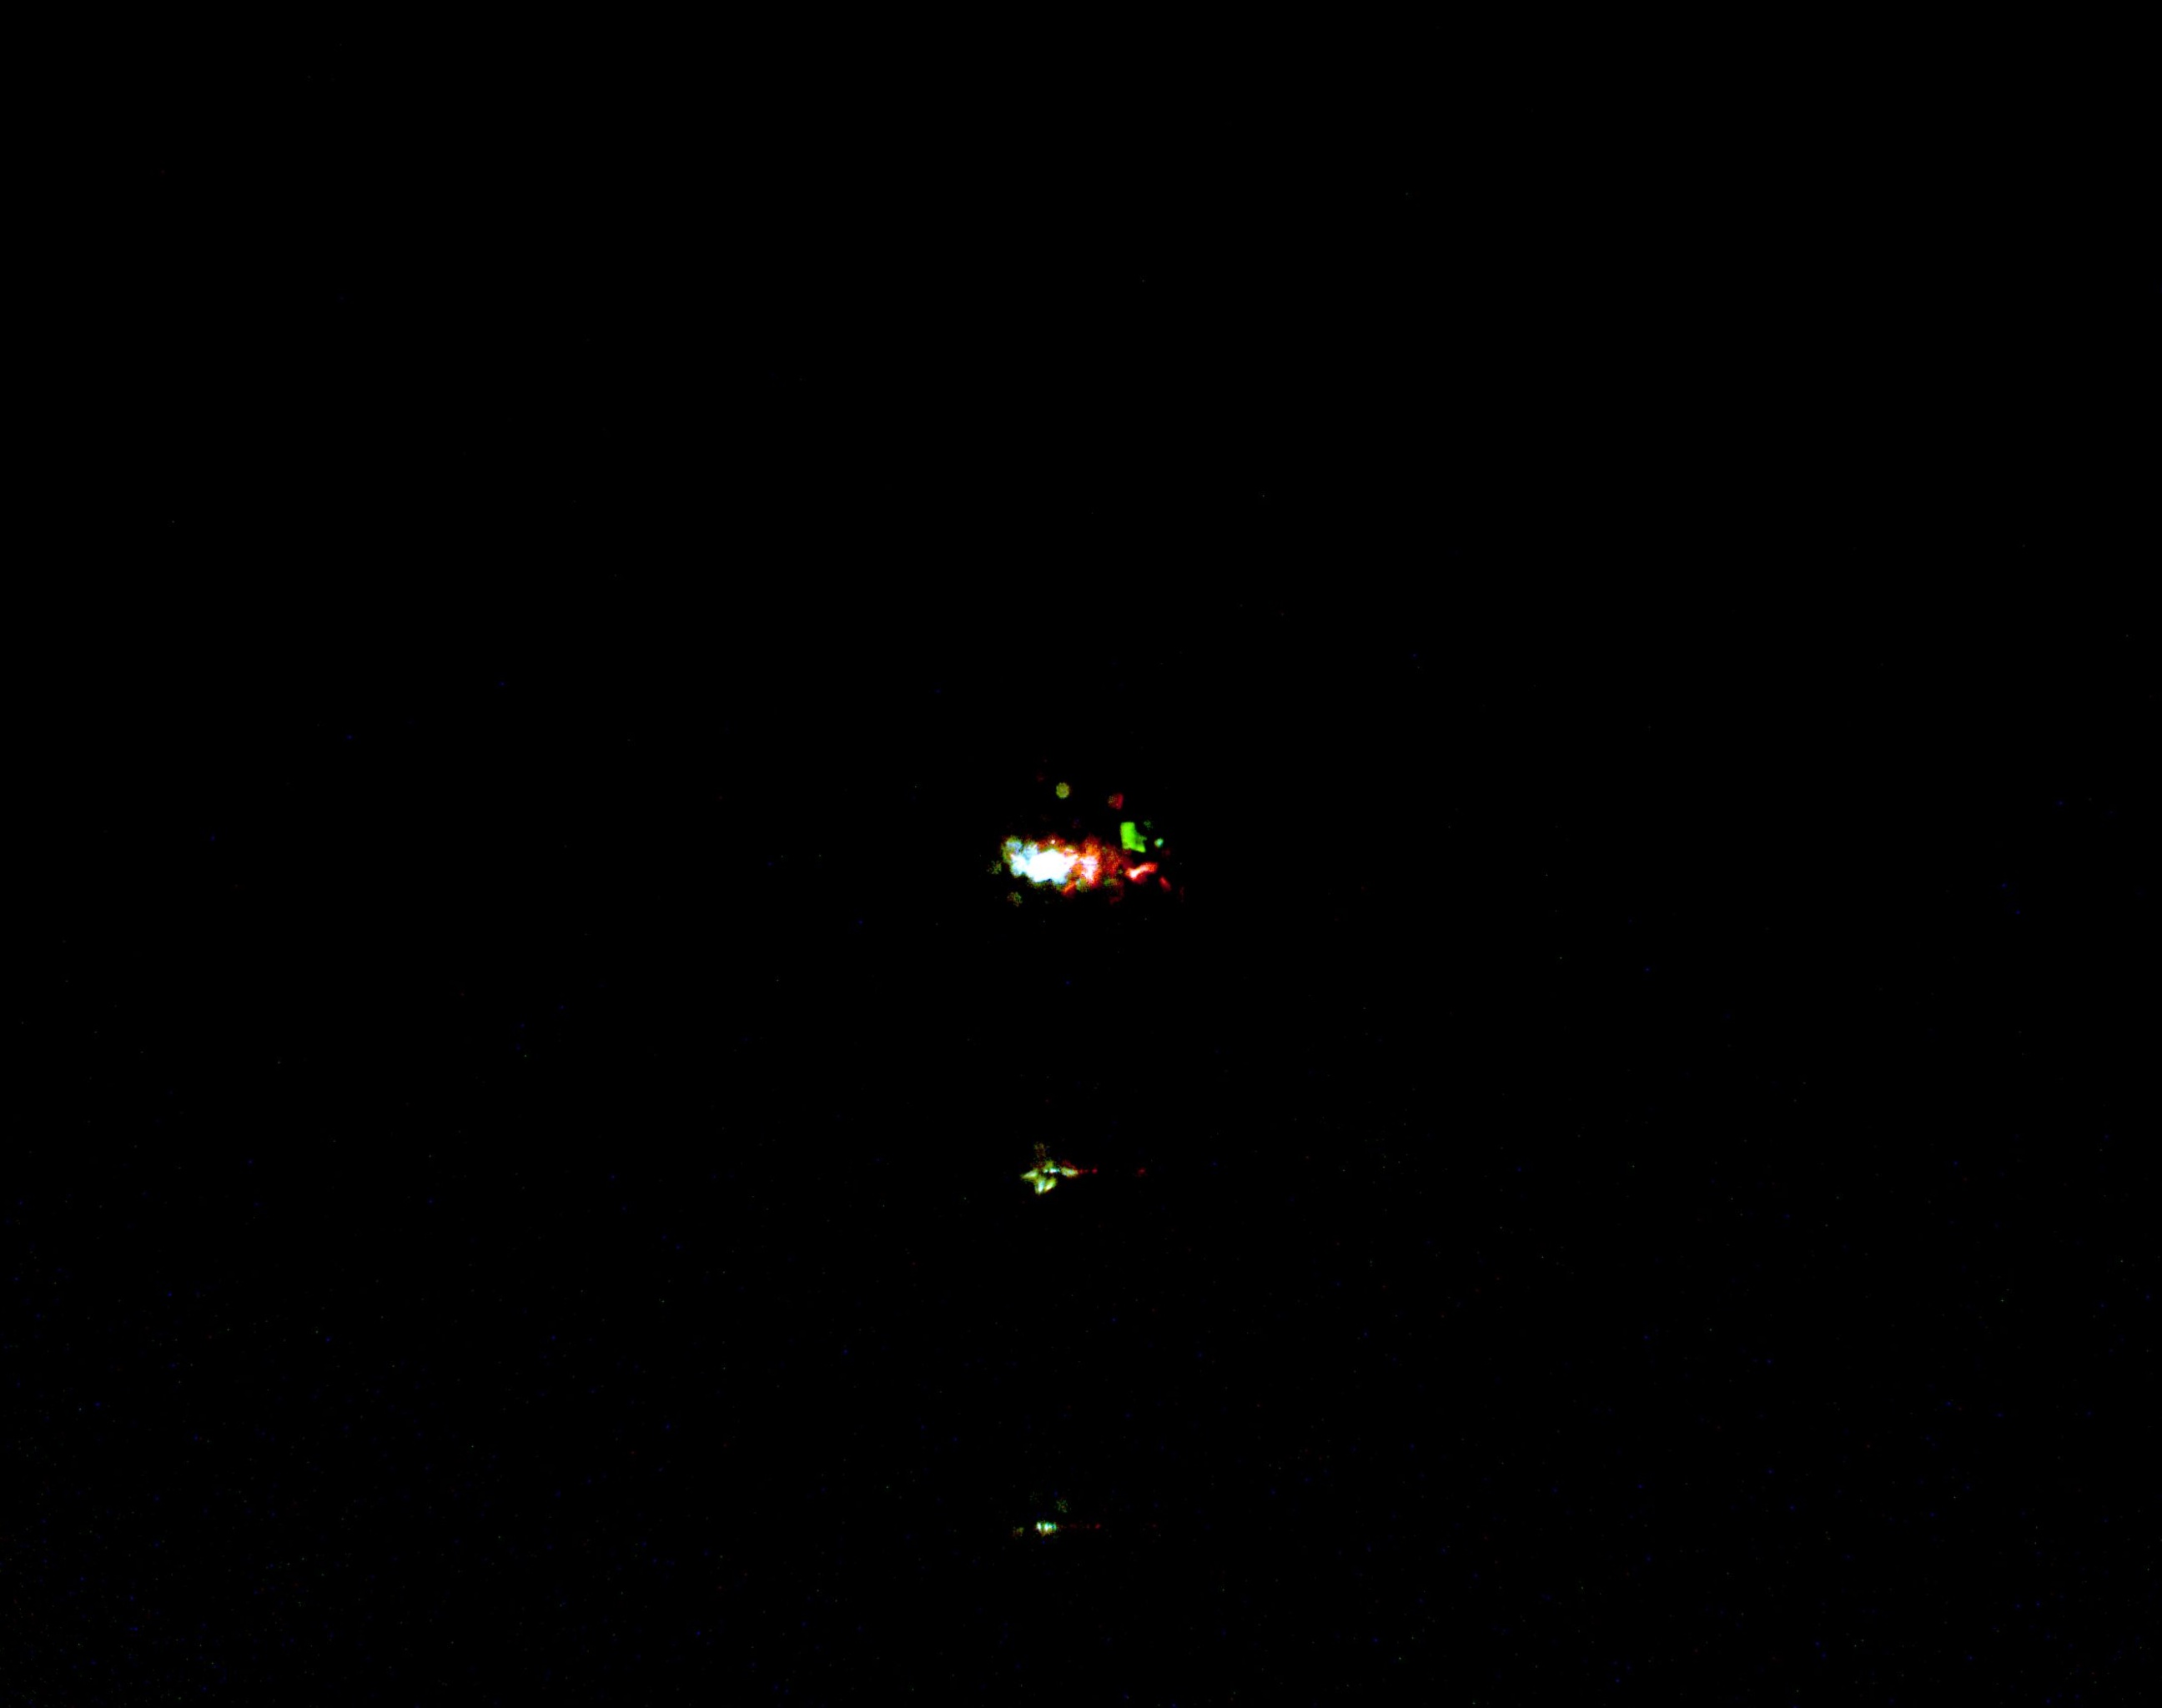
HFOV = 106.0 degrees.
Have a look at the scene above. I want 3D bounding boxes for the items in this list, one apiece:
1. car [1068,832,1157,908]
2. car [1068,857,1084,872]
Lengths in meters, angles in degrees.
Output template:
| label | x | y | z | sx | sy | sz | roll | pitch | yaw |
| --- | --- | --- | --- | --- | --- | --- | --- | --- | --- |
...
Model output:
| label | x | y | z | sx | sy | sz | roll | pitch | yaw |
| --- | --- | --- | --- | --- | --- | --- | --- | --- | --- |
| car | 1.141 | 0.507 | 28.530 | 2.704 | 2.307 | 6.104 | -2 | 0 | 3 |
| car | -0.664 | 1.354 | 105.919 | 1.988 | 1.915 | 3.997 | 0 | -1 | -2 |
